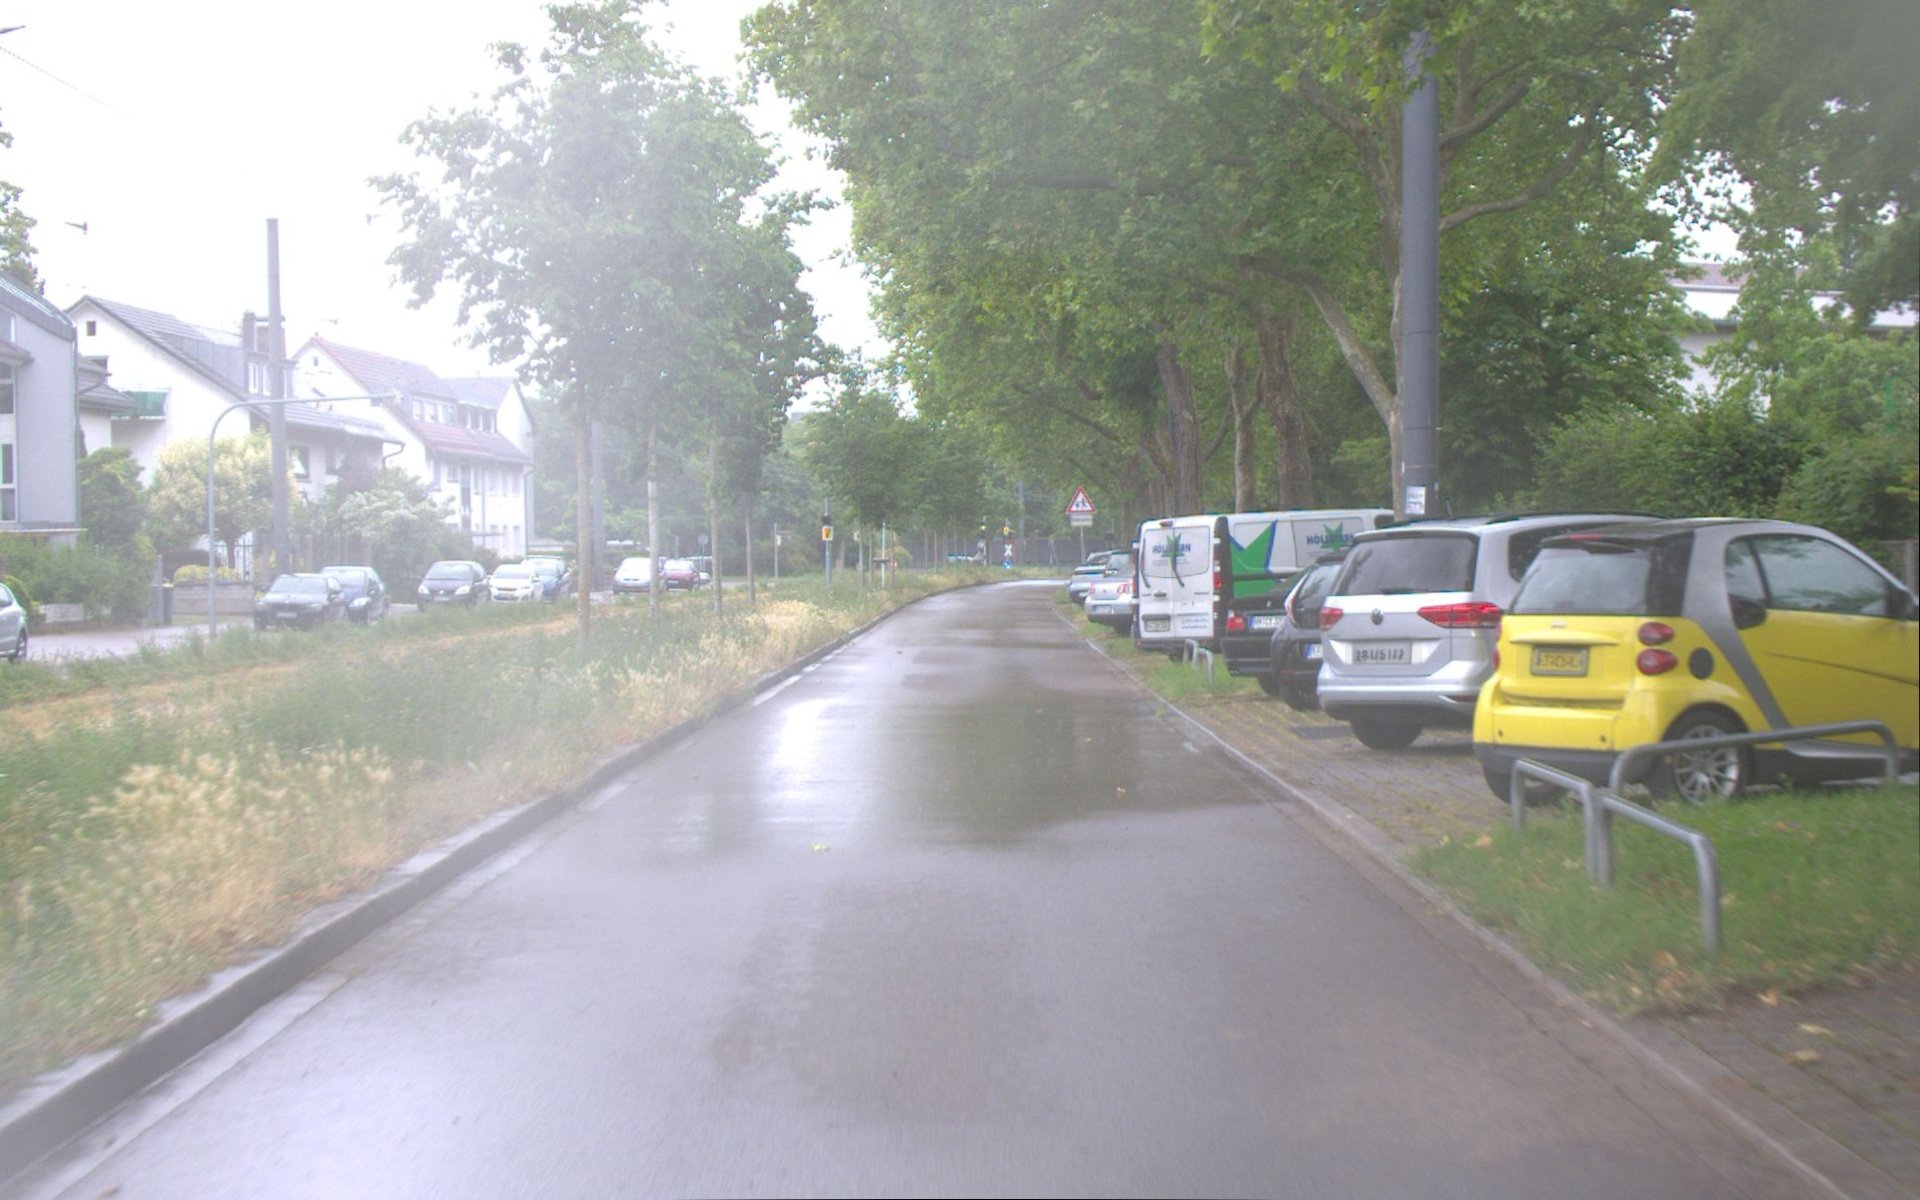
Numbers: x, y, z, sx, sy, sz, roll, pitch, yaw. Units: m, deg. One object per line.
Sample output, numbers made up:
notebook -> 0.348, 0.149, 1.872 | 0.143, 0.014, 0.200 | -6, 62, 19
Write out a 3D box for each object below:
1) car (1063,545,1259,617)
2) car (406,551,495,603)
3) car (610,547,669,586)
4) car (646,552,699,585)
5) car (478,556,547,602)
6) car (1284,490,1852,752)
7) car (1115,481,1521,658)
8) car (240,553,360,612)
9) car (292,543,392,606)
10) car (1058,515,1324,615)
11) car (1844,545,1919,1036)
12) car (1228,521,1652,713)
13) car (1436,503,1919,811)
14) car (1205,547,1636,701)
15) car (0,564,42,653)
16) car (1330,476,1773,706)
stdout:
car -> 5.167, -0.494, 88.007 | 4.761, 1.662, 1.994 | -3, 1, -35
car -> -15.856, -0.729, 107.156 | 1.993, 1.511, 4.205 | 1, 1, 2
car -> -13.909, -1.462, 149.443 | 1.993, 1.575, 4.517 | 1, 1, 2
car -> -13.662, -1.506, 163.391 | 1.993, 1.483, 4.205 | 1, 1, 2
car -> -15.454, -0.739, 118.904 | 1.796, 1.483, 3.597 | 1, 1, 2
car -> 4.403, 0.117, 24.631 | 4.036, 1.635, 1.654 | -3, 1, -37
car -> 4.625, -0.424, 44.118 | 5.014, 2.006, 2.000 | -4, 2, -34
car -> -16.239, -0.449, 84.789 | 1.993, 1.346, 4.240 | 1, 1, 2
car -> -16.100, -0.689, 89.743 | 1.874, 1.545, 3.870 | 1, 1, 0
car -> 4.267, -0.657, 63.286 | 4.546, 1.539, 1.888 | -5, 3, -31
car -> 4.774, 0.444, 10.574 | 4.050, 1.413, 1.742 | -3, 1, -36
car -> 4.325, 0.139, 30.851 | 3.394, 1.513, 1.850 | -3, 1, -37
car -> 4.246, 0.258, 18.472 | 2.895, 1.461, 1.604 | -3, 1, -28
car -> 4.584, 0.197, 33.916 | 4.293, 1.379, 1.740 | -1, 1, -39
car -> -16.555, 0.134, 56.248 | 1.993, 1.406, 3.971 | 1, 1, 0
car -> 4.806, -0.086, 27.849 | 3.265, 1.665, 1.592 | -3, 1, -33
